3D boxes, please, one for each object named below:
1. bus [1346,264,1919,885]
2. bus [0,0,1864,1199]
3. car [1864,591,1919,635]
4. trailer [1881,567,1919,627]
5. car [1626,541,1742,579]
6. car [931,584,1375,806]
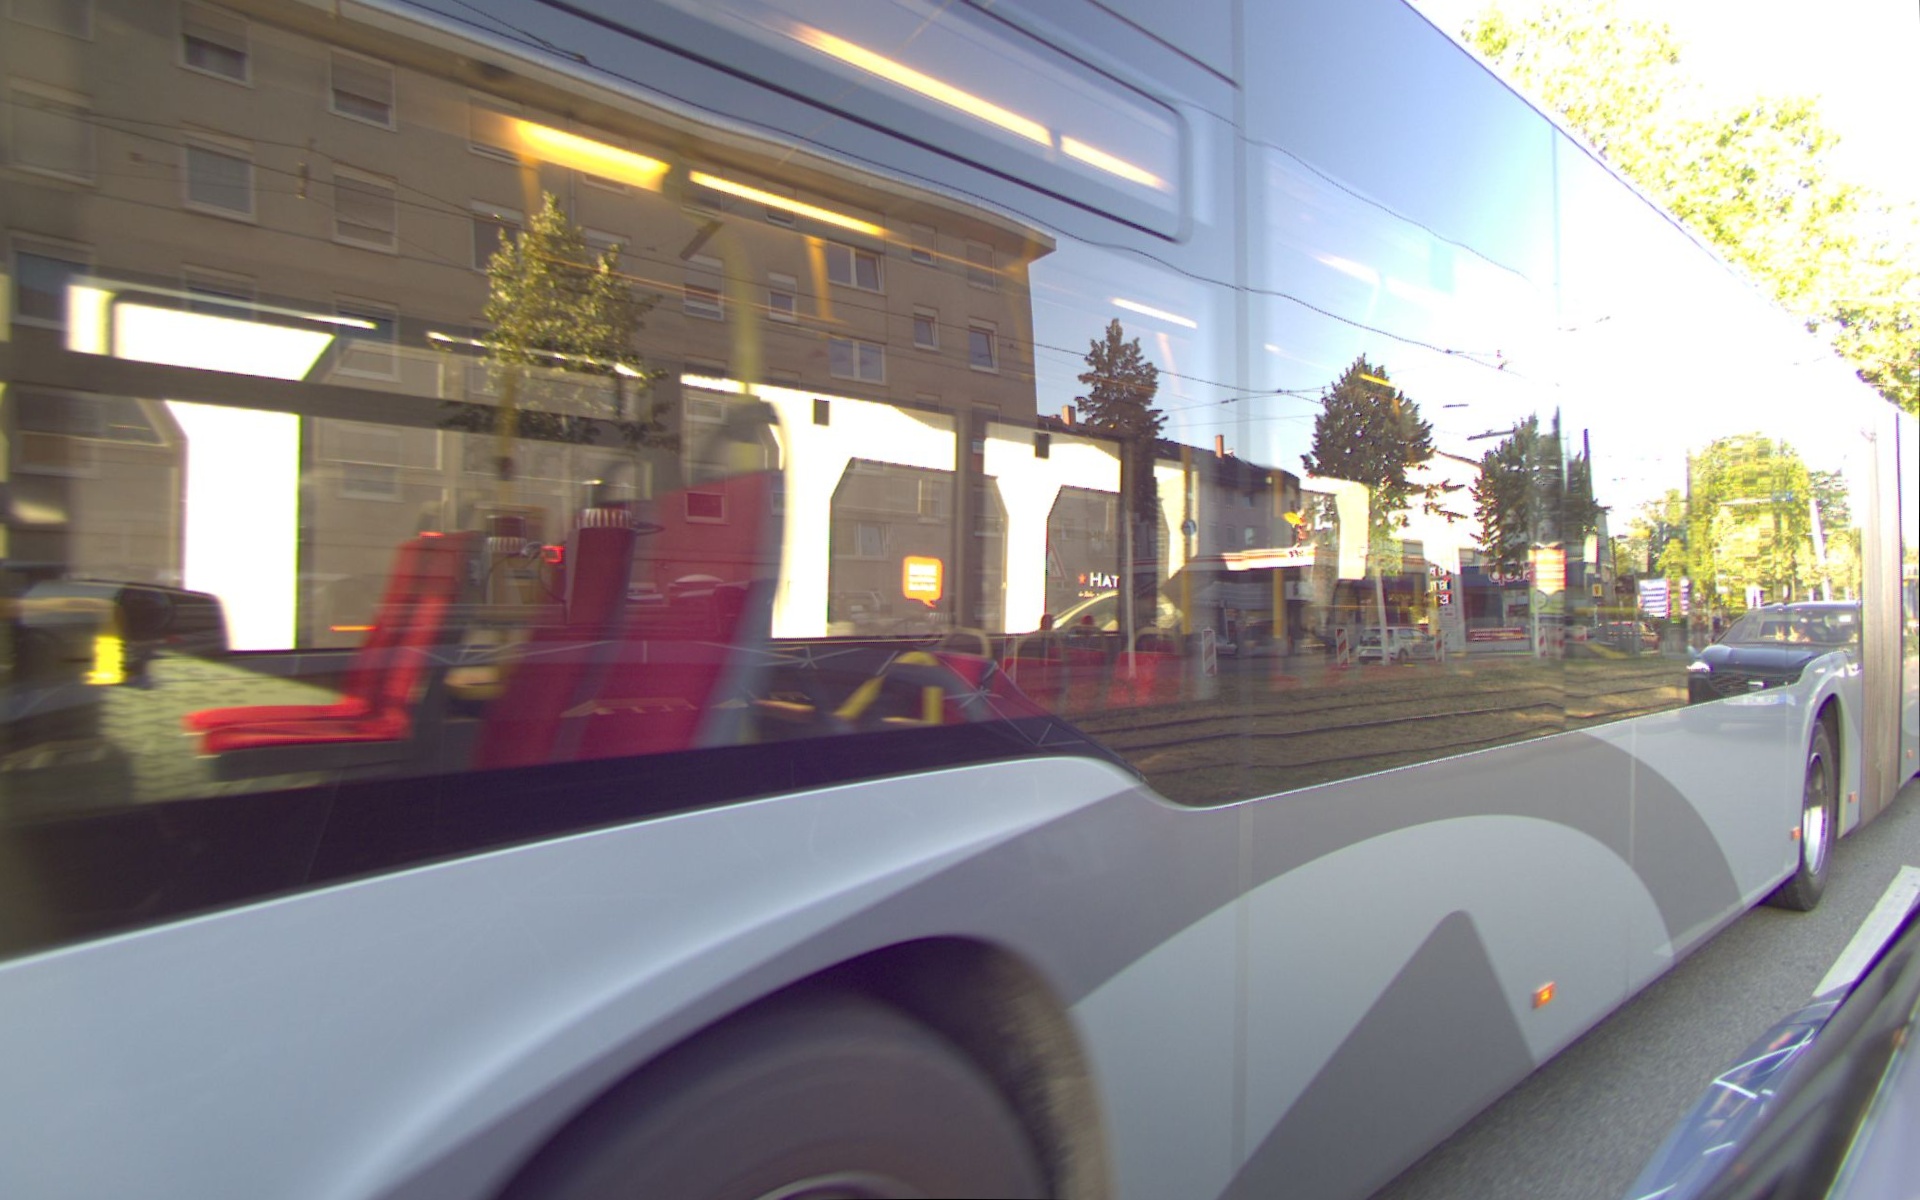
[{"bbox_3d":[6.890,-0.131,8.943,8.698,3.094,2.743,0,0,-41],"label":"bus"},{"bbox_3d":[0.243,-0.143,3.173,8.970,3.094,2.743,0,0,-41],"label":"bus"},{"bbox_3d":[38.796,0.516,41.690,3.930,1.650,1.799,0,2,-41],"label":"car"},{"bbox_3d":[43.618,-0.150,46.086,4.569,2.620,1.889,0,1,-41],"label":"trailer"},{"bbox_3d":[33.939,-1.849,47.514,1.770,1.570,4.120,0,-1,-39],"label":"car"},{"bbox_3d":[1.929,0.682,9.385,4.155,1.556,1.842,0,2,-41],"label":"car"}]
